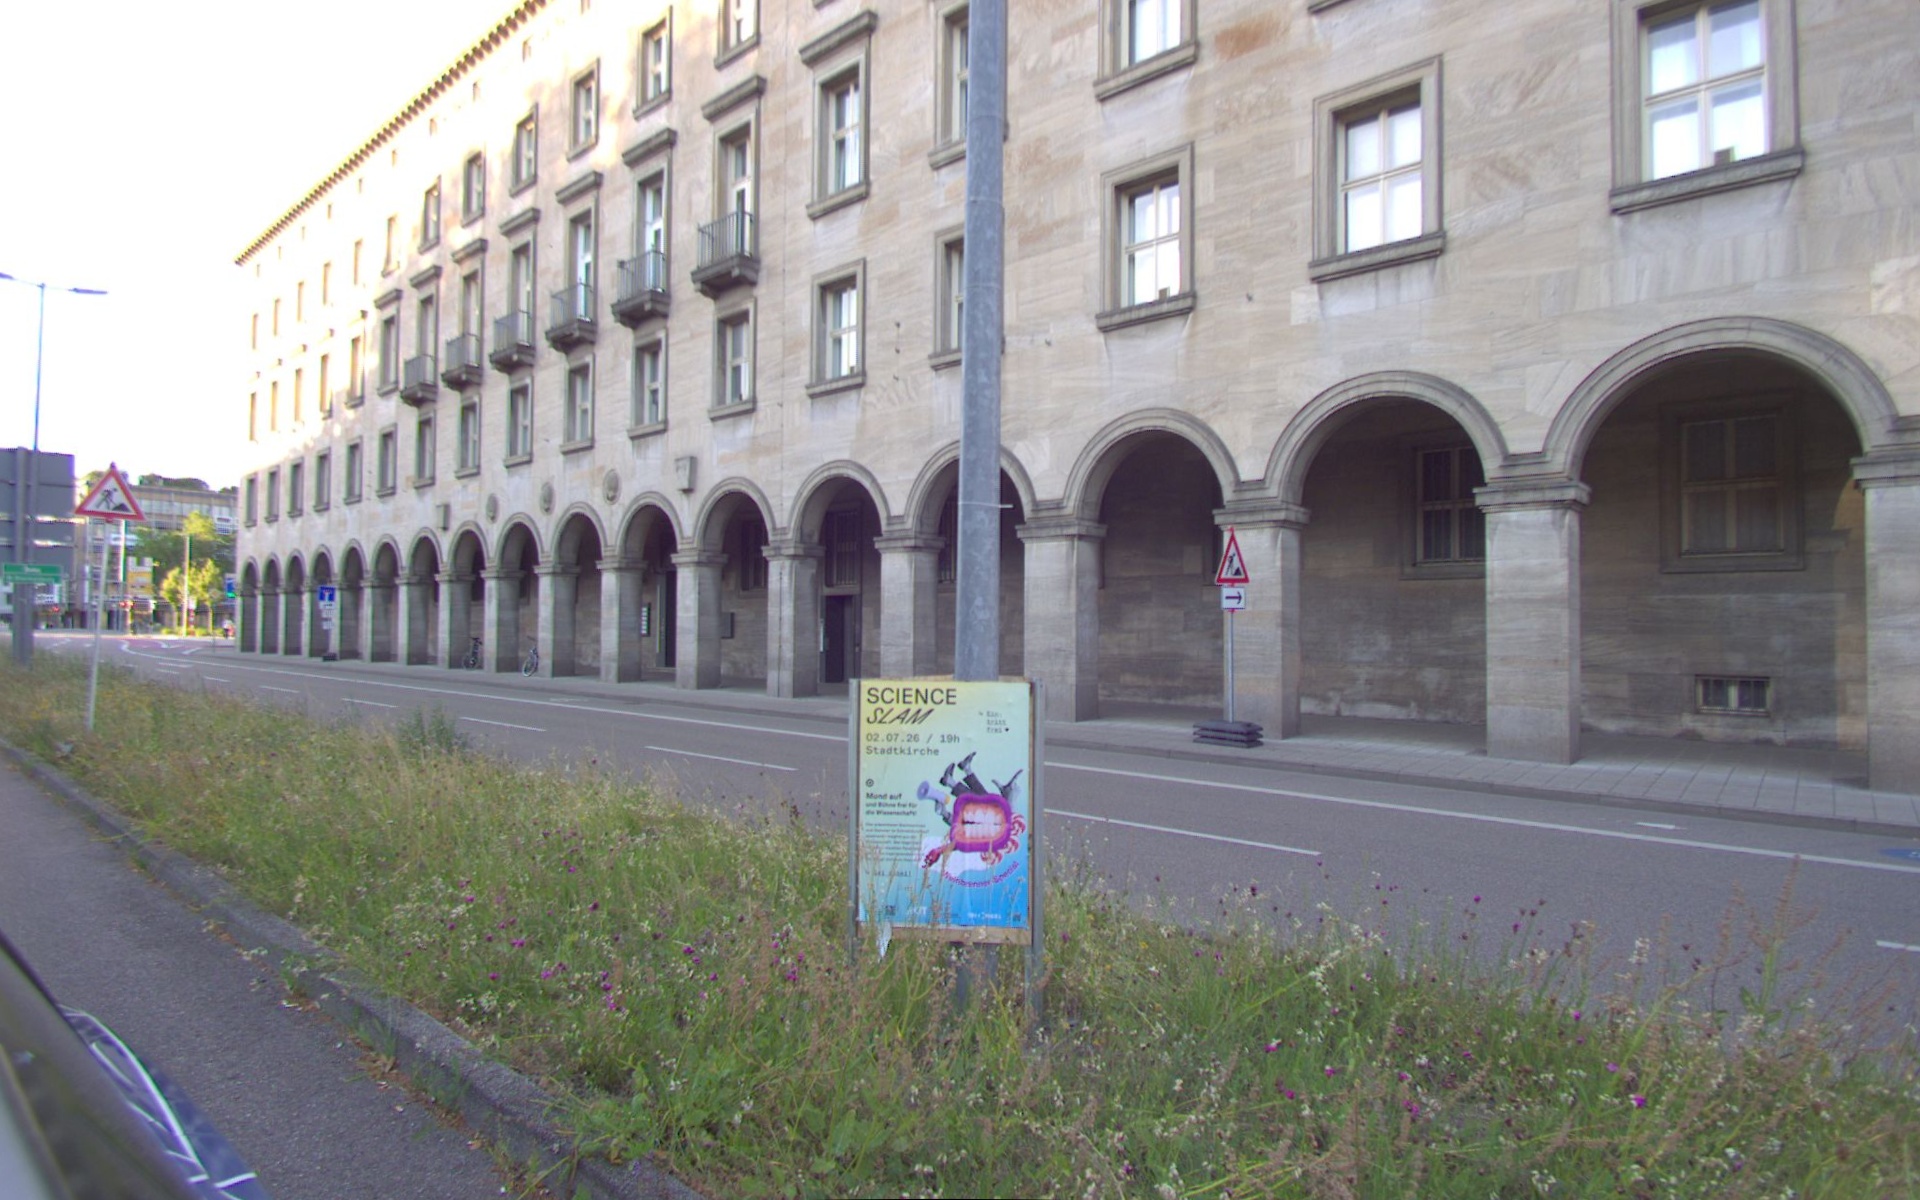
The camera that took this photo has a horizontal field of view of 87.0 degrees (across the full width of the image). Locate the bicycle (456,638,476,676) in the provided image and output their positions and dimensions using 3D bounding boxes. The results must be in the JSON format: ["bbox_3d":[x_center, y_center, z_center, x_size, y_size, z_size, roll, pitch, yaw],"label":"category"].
[{"bbox_3d":[-16.252,1.852,33.304,0.505,1.188,2.431,1,-2,-25],"label":"bicycle"}]

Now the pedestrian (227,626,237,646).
[{"bbox_3d":[-56.795,2.815,78.995,0.389,1.553,0.519,-2,-3,41],"label":"pedestrian"}]

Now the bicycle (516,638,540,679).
[{"bbox_3d":[-12.937,1.744,30.343,0.505,1.130,2.431,1,-1,-20],"label":"bicycle"}]

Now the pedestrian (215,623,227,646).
[{"bbox_3d":[-57.234,2.656,78.410,0.506,1.771,0.630,-2,-3,41],"label":"pedestrian"}]
